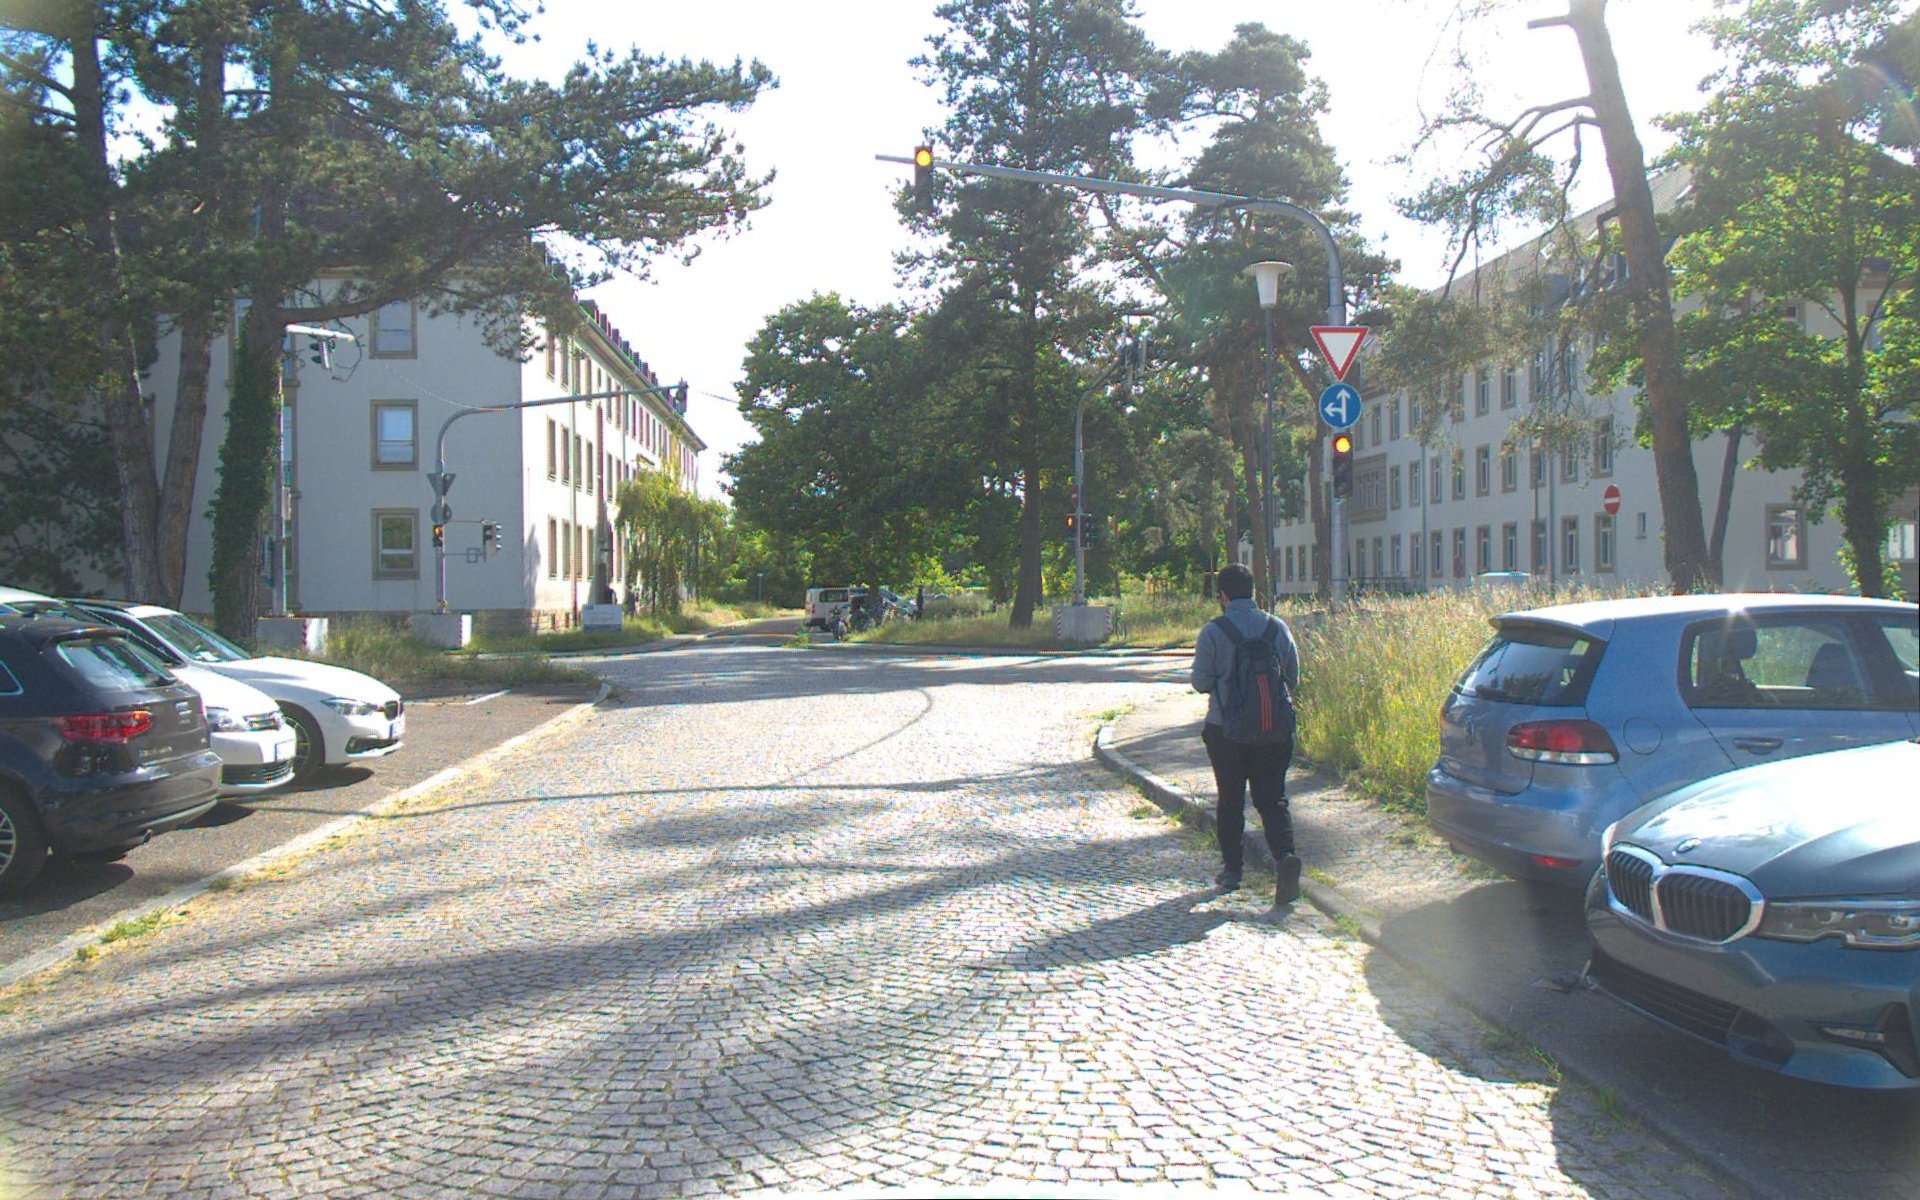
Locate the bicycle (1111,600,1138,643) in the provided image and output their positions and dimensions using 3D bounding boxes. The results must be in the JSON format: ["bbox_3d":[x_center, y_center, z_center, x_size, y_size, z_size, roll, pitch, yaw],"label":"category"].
[{"bbox_3d":[4.485,0.571,45.138,0.706,1.134,2.585,-1,0,5],"label":"bicycle"}]

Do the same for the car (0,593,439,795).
[{"bbox_3d":[-6.770,0.762,14.327,3.905,1.522,1.773,2,0,0],"label":"car"}]

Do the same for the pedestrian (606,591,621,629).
[{"bbox_3d":[-14.600,0.415,69.600,0.596,1.587,0.544,0,0,-11],"label":"pedestrian"}]

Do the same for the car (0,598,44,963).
[{"bbox_3d":[-5.824,0.725,6.336,3.615,1.554,1.697,2,0,-7],"label":"car"}]

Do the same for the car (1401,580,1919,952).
[{"bbox_3d":[4.187,0.675,7.981,3.601,1.468,1.664,-2,0,-5],"label":"car"}]

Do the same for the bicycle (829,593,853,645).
[{"bbox_3d":[-3.836,0.594,53.154,0.738,1.608,2.534,0,0,-5],"label":"bicycle"}]

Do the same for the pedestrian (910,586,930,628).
[{"bbox_3d":[-1.778,0.305,72.673,0.746,1.815,0.682,-1,0,-12],"label":"pedestrian"}]

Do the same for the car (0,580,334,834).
[{"bbox_3d":[-6.660,0.691,11.713,3.804,1.643,1.659,2,0,-6],"label":"car"}]

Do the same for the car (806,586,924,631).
[{"bbox_3d":[-4.284,0.363,74.332,4.981,1.951,1.993,-1,0,-14],"label":"car"}]

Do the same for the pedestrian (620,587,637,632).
[{"bbox_3d":[-13.277,0.381,66.171,0.597,1.783,0.627,0,0,-18],"label":"pedestrian"}]

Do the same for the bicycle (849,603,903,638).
[{"bbox_3d":[-2.858,0.696,56.476,1.800,1.132,0.494,-1,0,-8],"label":"bicycle"}]

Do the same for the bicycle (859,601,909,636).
[{"bbox_3d":[-2.652,0.652,57.722,1.695,1.185,0.560,-1,0,-8],"label":"bicycle"}]

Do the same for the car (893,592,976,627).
[{"bbox_3d":[-1.239,0.457,78.422,3.677,1.607,1.736,0,0,-12],"label":"car"}]

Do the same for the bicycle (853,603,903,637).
[{"bbox_3d":[-2.832,0.694,57.024,1.695,1.132,0.483,-1,0,-8],"label":"bicycle"}]

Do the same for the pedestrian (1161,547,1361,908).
[{"bbox_3d":[1.554,0.639,8.665,0.738,1.755,0.828,4,0,-5],"label":"pedestrian"}]

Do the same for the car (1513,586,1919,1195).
[{"bbox_3d":[4.415,0.656,5.431,4.532,1.481,1.867,-3,1,-7],"label":"car"}]

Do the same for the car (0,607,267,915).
[{"bbox_3d":[-6.073,0.764,8.984,3.861,1.470,1.689,3,0,-6],"label":"car"}]
